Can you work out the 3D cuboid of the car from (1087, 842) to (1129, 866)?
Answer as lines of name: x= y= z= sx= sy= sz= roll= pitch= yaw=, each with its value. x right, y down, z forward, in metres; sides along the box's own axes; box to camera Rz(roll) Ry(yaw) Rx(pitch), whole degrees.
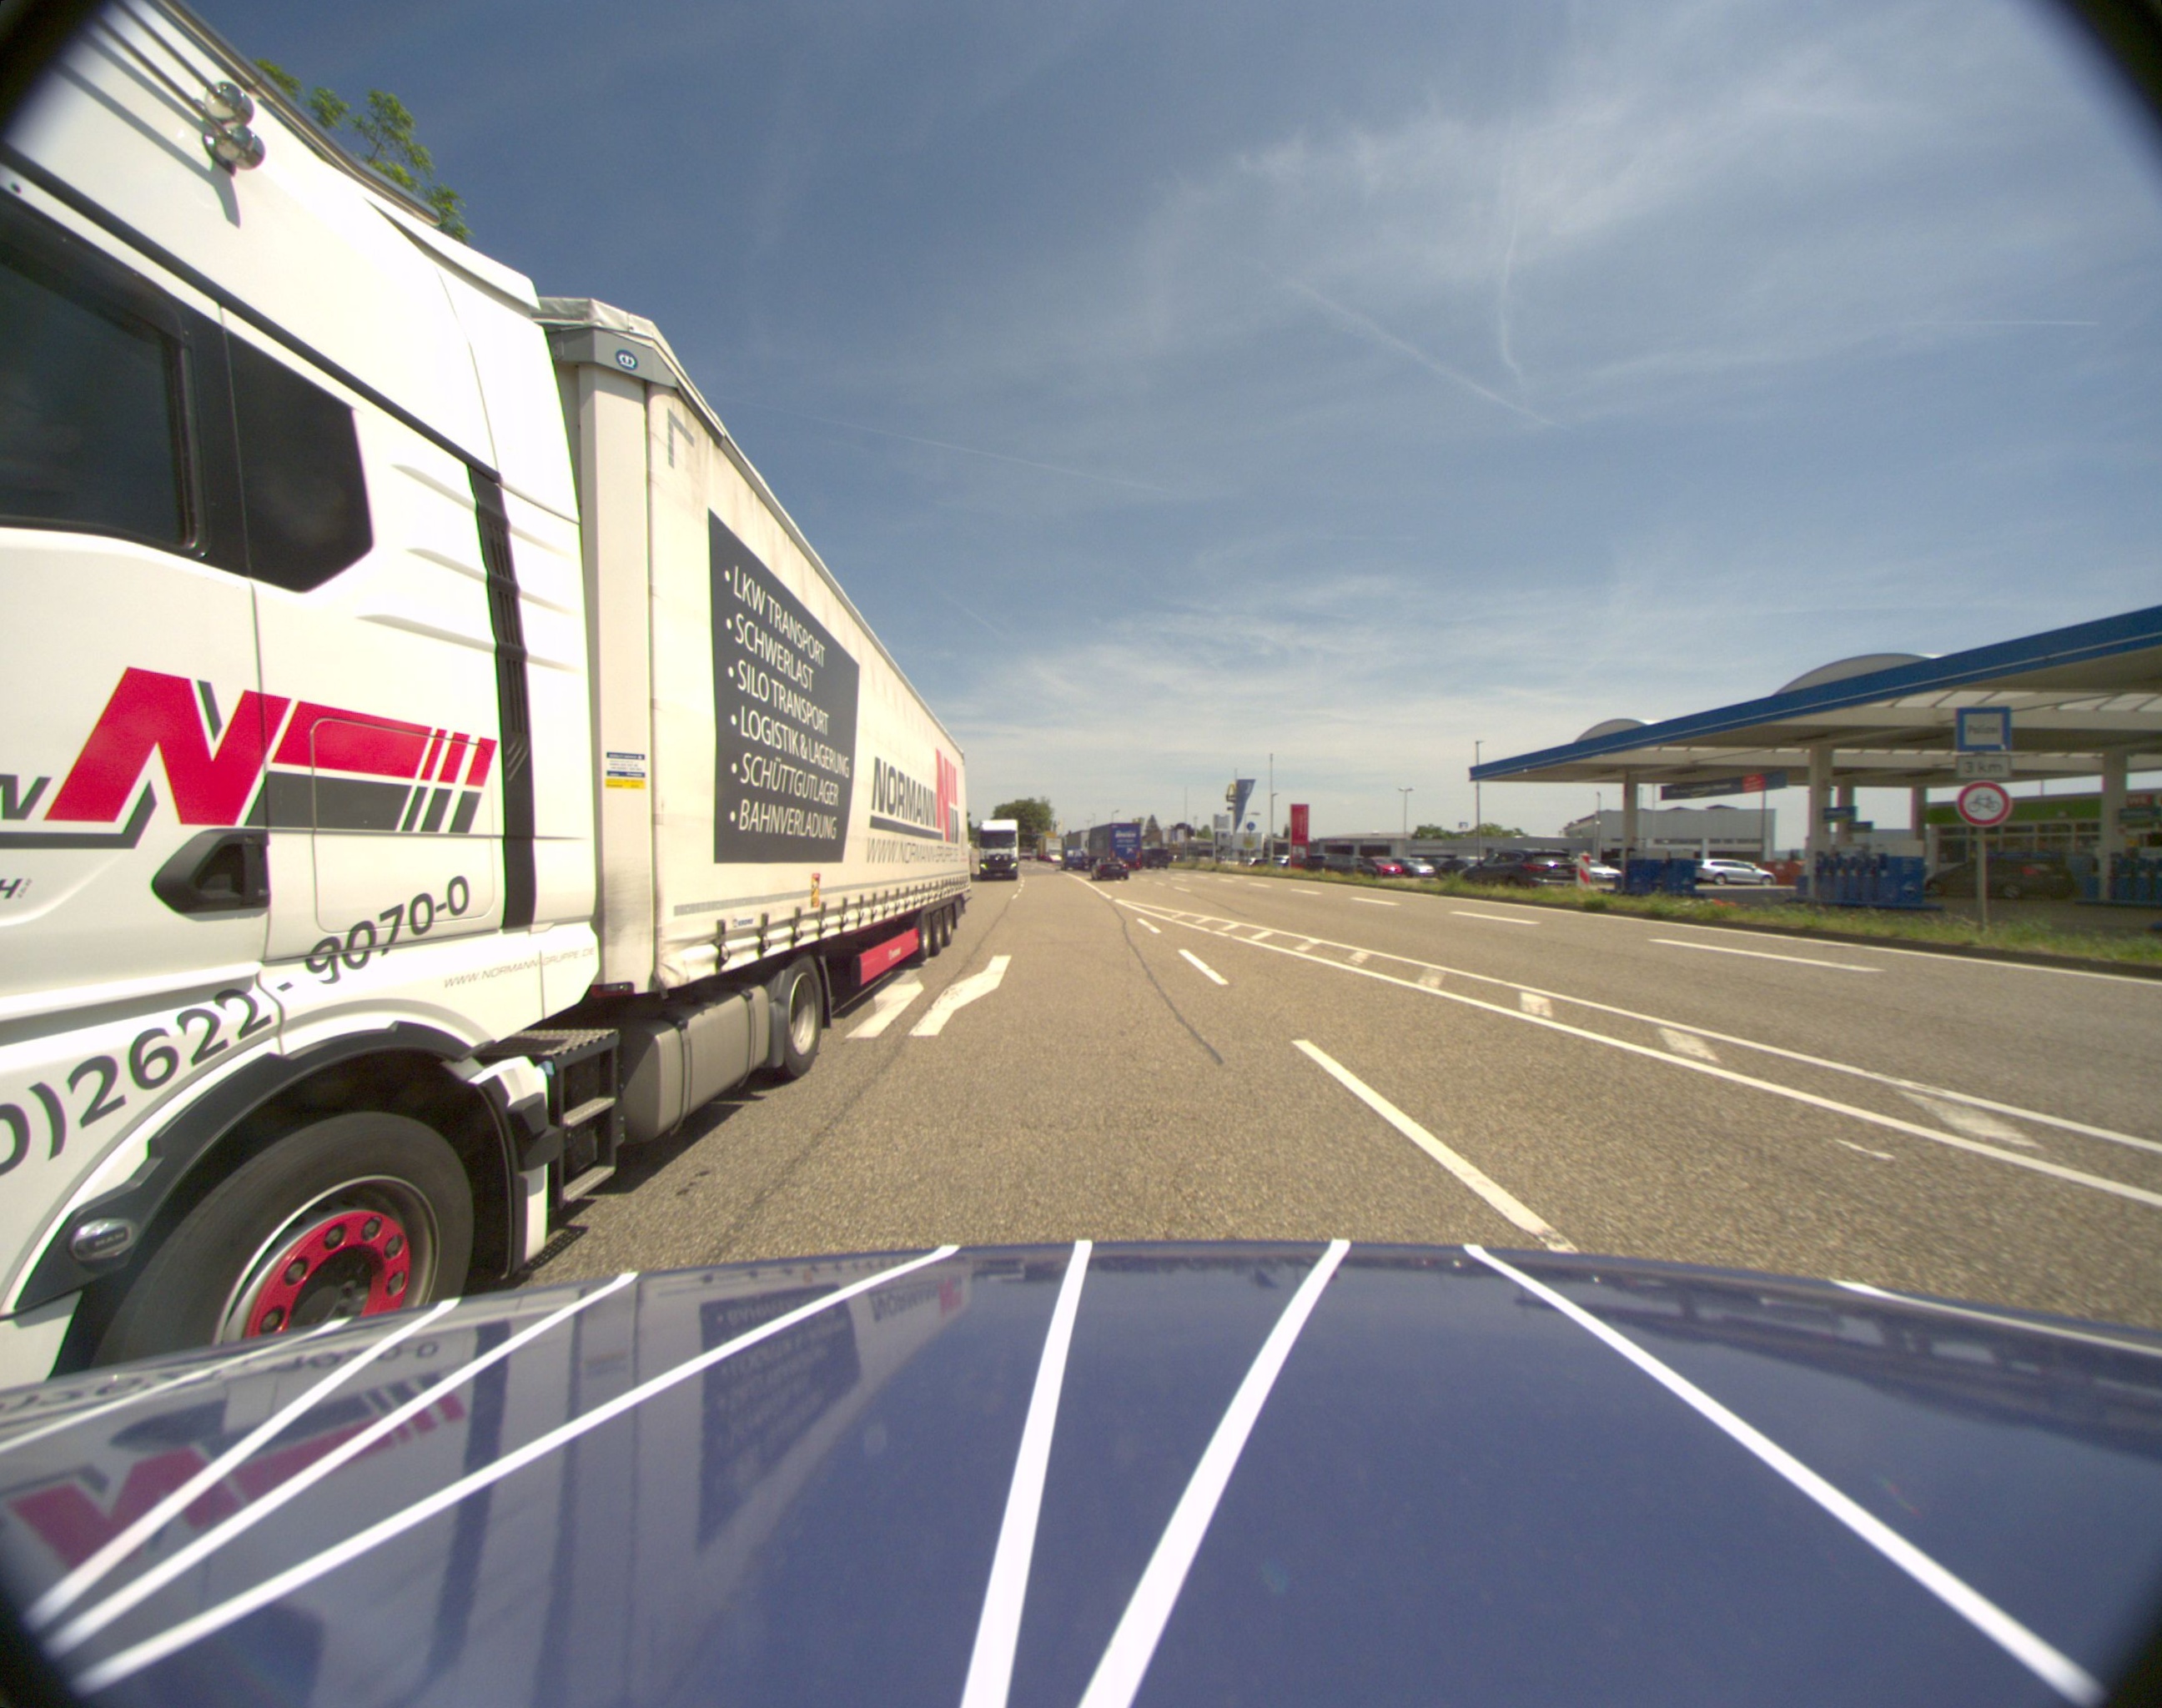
car: x=1.544 y=-0.026 z=45.113 sx=1.854 sy=1.264 sz=4.173 roll=-3 pitch=1 yaw=-7

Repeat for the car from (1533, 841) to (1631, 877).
car: x=27.141 y=0.259 z=41.299 sx=3.997 sy=1.893 sz=2.000 roll=0 pitch=1 yaw=1

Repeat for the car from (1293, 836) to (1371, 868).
car: x=13.942 y=-0.143 z=42.216 sx=4.005 sy=1.695 sz=1.838 roll=-1 pitch=2 yaw=-27

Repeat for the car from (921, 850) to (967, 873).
car: x=-11.213 y=0.607 z=62.195 sx=3.539 sy=1.469 sz=1.831 roll=5 pitch=1 yaw=-10

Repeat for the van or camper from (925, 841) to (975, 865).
van or camper: x=-14.992 y=-0.091 z=87.389 sx=5.492 sy=2.714 sz=2.230 roll=0 pitch=1 yaw=-6

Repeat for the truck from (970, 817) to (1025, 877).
truck: x=-6.697 y=-0.589 z=58.412 sx=2.984 sy=3.987 sz=14.105 roll=0 pitch=1 yaw=-11

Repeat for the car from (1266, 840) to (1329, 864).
car: x=14.501 y=-0.146 z=50.828 sx=4.190 sy=1.577 sz=1.777 roll=0 pitch=1 yaw=-34

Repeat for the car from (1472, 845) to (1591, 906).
car: x=13.980 y=0.591 z=23.907 sx=1.831 sy=1.709 sz=4.573 roll=0 pitch=1 yaw=12

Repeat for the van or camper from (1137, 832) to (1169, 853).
van or camper: x=6.636 y=-1.066 z=70.688 sx=1.999 sy=1.924 sz=5.380 roll=0 pitch=1 yaw=-5

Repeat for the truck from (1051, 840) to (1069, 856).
truck: x=-3.269 y=-0.899 z=117.422 sx=2.432 sy=2.327 sz=5.670 roll=2 pitch=1 yaw=-6

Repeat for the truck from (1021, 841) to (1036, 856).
truck: x=-9.645 y=-1.030 z=139.196 sx=2.404 sy=2.431 sz=6.866 roll=-1 pitch=2 yaw=-7

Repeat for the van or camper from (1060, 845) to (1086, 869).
van or camper: x=-0.794 y=0.214 z=70.128 sx=1.842 sy=2.125 sz=5.338 roll=-1 pitch=1 yaw=-7

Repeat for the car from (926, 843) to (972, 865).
car: x=-11.672 y=0.008 z=67.318 sx=3.867 sy=1.682 sz=1.942 roll=4 pitch=1 yaw=-7

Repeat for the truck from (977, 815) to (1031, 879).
truck: x=-5.289 y=-0.470 z=51.315 sx=2.984 sy=3.987 sz=6.319 roll=1 pitch=1 yaw=-11

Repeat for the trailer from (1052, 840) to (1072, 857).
trailer: x=-2.931 y=-0.843 z=114.011 sx=2.436 sy=2.325 sz=6.891 roll=2 pitch=1 yaw=-6

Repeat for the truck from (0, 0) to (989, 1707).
truck: x=-3.384 y=-0.524 z=9.053 sx=2.981 sy=4.070 sz=17.626 roll=-3 pitch=1 yaw=-2

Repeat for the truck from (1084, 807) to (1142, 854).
truck: x=2.650 y=-1.958 z=70.496 sx=2.853 sy=3.866 sz=16.994 roll=0 pitch=0 yaw=-6

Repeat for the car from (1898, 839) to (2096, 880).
car: x=33.661 y=0.161 z=28.165 sx=1.999 sy=1.370 sz=4.382 roll=0 pitch=1 yaw=-1

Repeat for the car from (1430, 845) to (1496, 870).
car: x=22.743 y=0.176 z=45.419 sx=1.711 sy=1.433 sz=3.997 roll=0 pitch=1 yaw=-5

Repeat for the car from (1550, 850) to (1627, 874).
car: x=30.650 y=0.453 z=46.036 sx=1.711 sy=1.388 sz=3.997 roll=0 pitch=1 yaw=-5

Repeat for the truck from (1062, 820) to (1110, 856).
truck: x=0.316 y=-1.936 z=91.436 sx=2.799 sy=3.867 sz=16.463 roll=-1 pitch=2 yaw=-10

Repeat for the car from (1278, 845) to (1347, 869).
car: x=14.676 y=0.168 z=48.088 sx=4.005 sy=1.477 sz=1.816 roll=-1 pitch=1 yaw=-26
